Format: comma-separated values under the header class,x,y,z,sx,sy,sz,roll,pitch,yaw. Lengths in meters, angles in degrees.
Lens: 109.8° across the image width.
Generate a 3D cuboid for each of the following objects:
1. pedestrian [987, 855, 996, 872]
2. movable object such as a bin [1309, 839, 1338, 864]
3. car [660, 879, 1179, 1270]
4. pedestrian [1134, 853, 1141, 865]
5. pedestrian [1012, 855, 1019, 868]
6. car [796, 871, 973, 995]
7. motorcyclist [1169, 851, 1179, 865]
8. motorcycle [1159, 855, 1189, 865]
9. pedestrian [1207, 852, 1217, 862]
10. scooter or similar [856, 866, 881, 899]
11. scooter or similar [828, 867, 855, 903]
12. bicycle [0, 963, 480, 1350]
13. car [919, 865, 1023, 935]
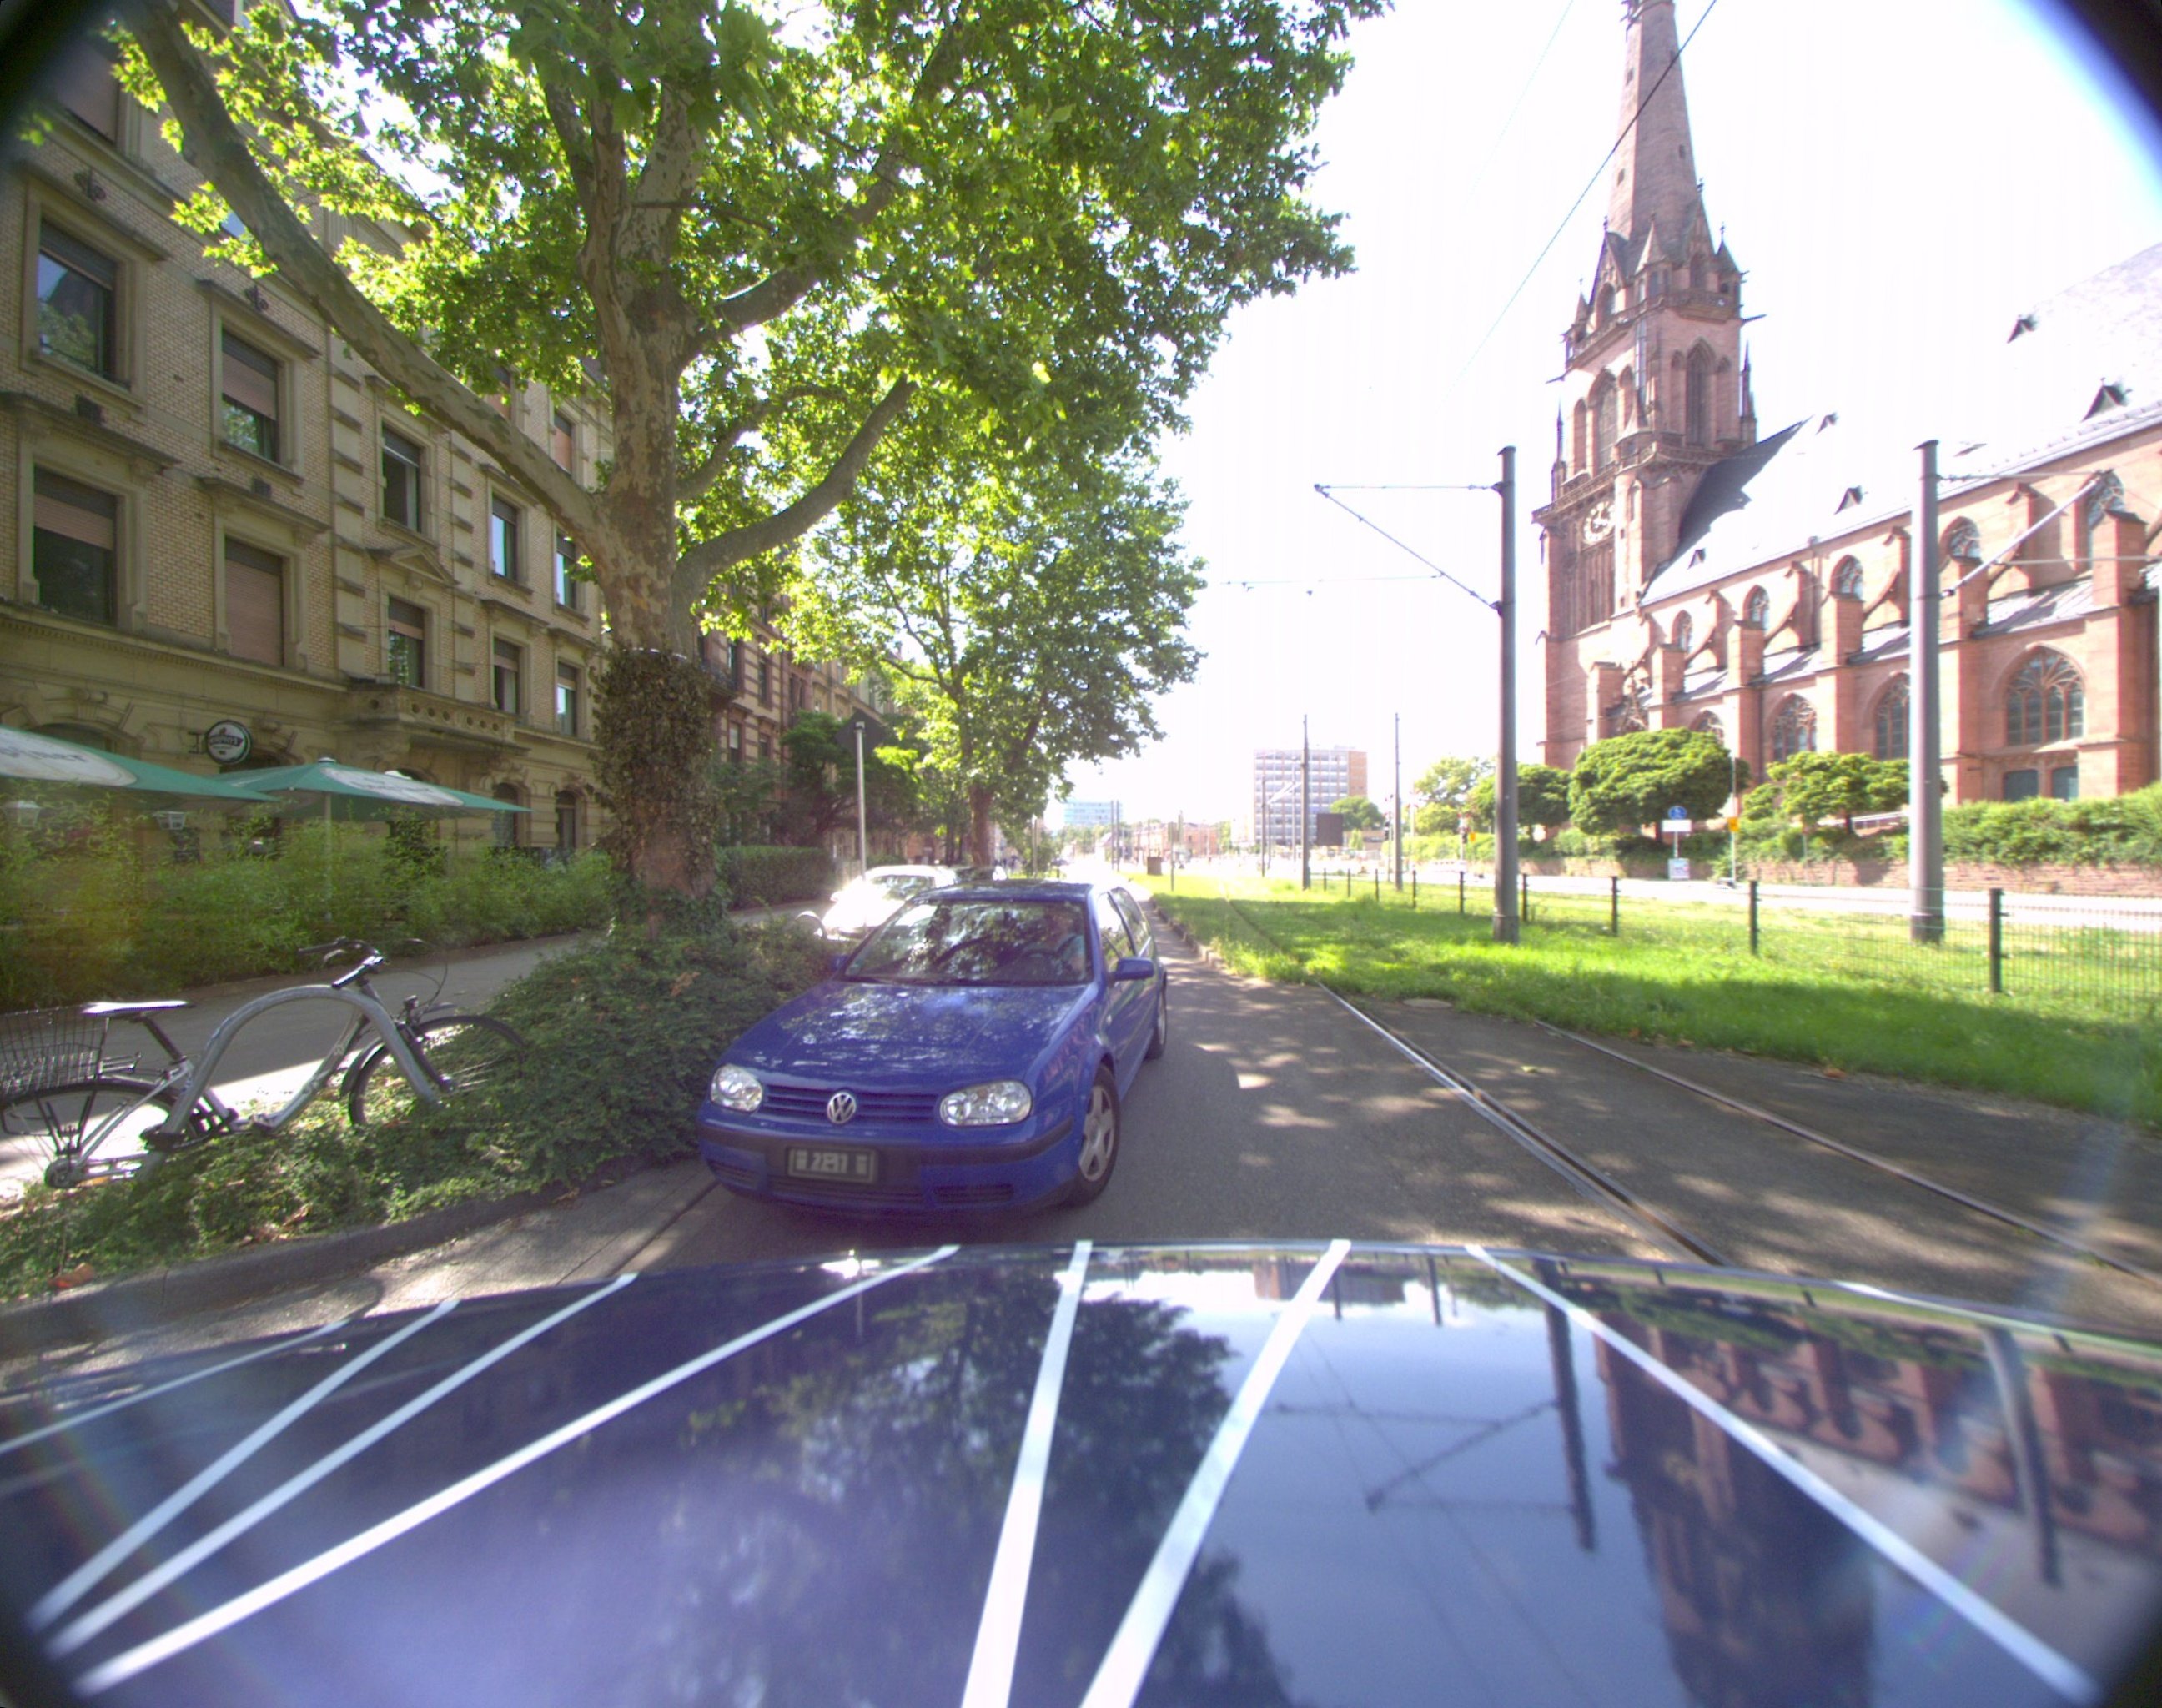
class,x,y,z,sx,sy,sz,roll,pitch,yaw
pedestrian,-8.937,0.930,75.810,0.797,1.708,0.967,-1,0,0
movable object such as a bin,37.626,-0.375,117.965,3.341,3.859,2.932,0,0,-33
car,-0.492,0.944,5.188,1.884,1.401,4.097,-1,0,13
pedestrian,7.510,0.693,101.735,0.850,1.644,1.128,-1,0,1
pedestrian,-8.599,0.979,99.251,0.797,1.708,0.967,-1,0,0
car,-2.862,1.073,12.123,1.838,1.499,4.490,0,0,-3
motorcyclist,12.914,0.603,105.540,1.106,1.919,1.335,0,0,15
motorcycle,12.890,0.828,105.555,3.930,1.331,1.246,-1,0,15
pedestrian,24.333,0.571,141.257,1.426,1.796,1.422,-1,0,-3
scooter or similar,-8.283,1.098,29.676,0.583,1.275,1.145,0,0,3
scooter or similar,-8.480,1.083,26.955,0.583,1.240,1.145,0,0,1
bicycle,-3.521,1.108,3.096,0.421,1.099,1.620,0,0,31
car,-2.631,1.056,19.255,1.838,1.499,4.643,0,0,1
